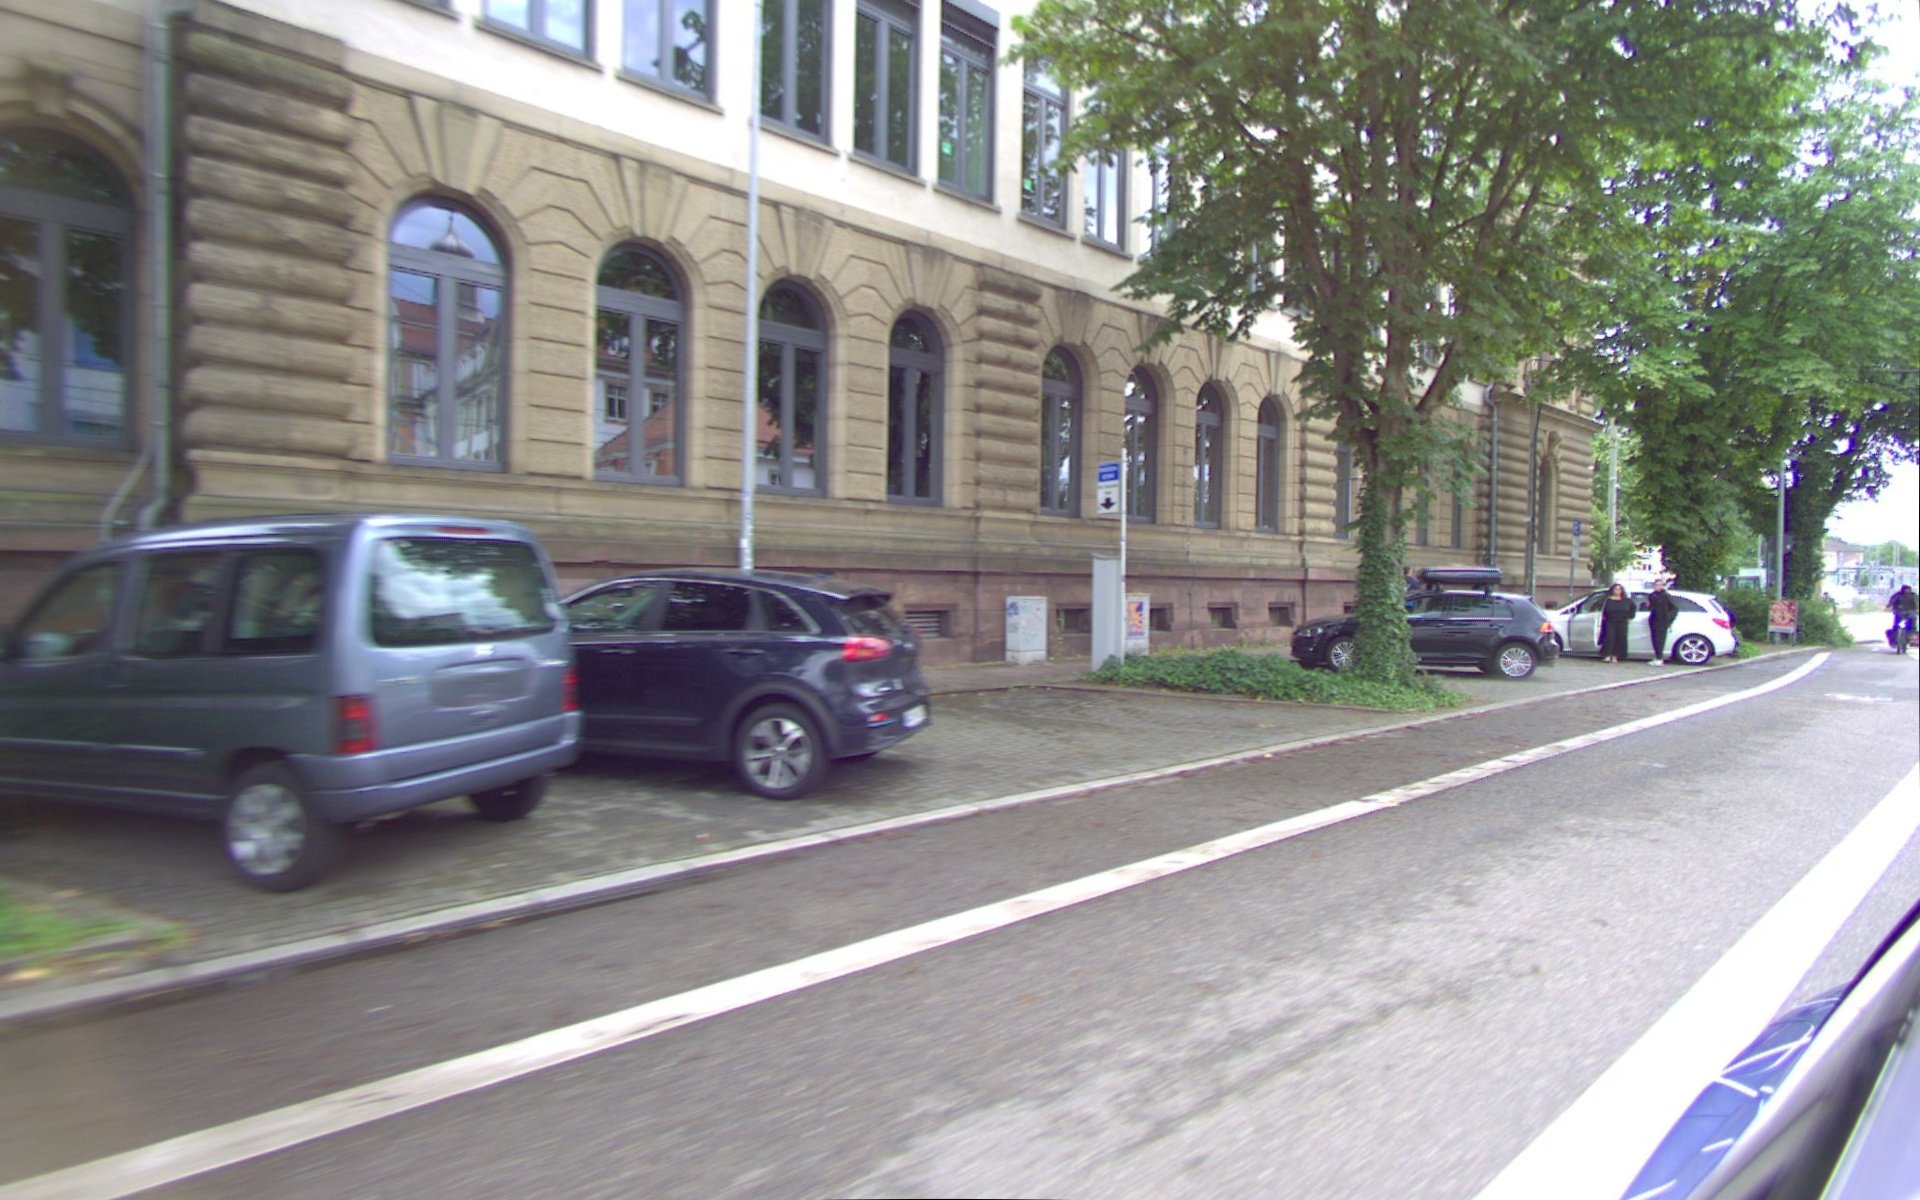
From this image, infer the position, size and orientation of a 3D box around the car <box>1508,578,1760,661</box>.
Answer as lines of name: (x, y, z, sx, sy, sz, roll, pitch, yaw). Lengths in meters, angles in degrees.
car: (14.278, 0.351, 21.778, 4.284, 1.571, 1.734, 1, 1, 27)

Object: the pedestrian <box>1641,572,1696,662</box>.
pedestrian: (14.251, 0.331, 20.363, 0.675, 1.772, 0.612, 1, 1, 10)

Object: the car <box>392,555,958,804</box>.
car: (-2.154, 0.482, 8.043, 3.942, 1.558, 1.857, 2, 1, 15)

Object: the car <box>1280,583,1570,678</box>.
car: (7.768, 0.452, 17.362, 4.271, 1.419, 1.745, 1, 1, 17)

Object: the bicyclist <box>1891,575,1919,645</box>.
bicyclist: (25.791, 0.285, 27.183, 1.450, 1.845, 0.882, 2, 0, -37)

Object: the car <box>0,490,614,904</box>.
car: (-4.199, 0.358, 5.969, 3.790, 1.843, 1.796, 2, 1, 19)

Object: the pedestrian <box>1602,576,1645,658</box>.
pedestrian: (13.542, 0.335, 20.680, 0.637, 1.646, 0.587, 1, 1, 26)

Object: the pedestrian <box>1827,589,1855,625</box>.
pedestrian: (43.077, 0.314, 49.477, 0.912, 1.730, 1.143, 1, 1, 37)

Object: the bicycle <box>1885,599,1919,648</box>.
bicycle: (25.642, 0.624, 27.102, 2.266, 1.257, 0.853, 2, 0, -37)

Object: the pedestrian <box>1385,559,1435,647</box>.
pedestrian: (9.880, 0.049, 22.231, 0.738, 1.861, 0.680, 0, 3, -41)
